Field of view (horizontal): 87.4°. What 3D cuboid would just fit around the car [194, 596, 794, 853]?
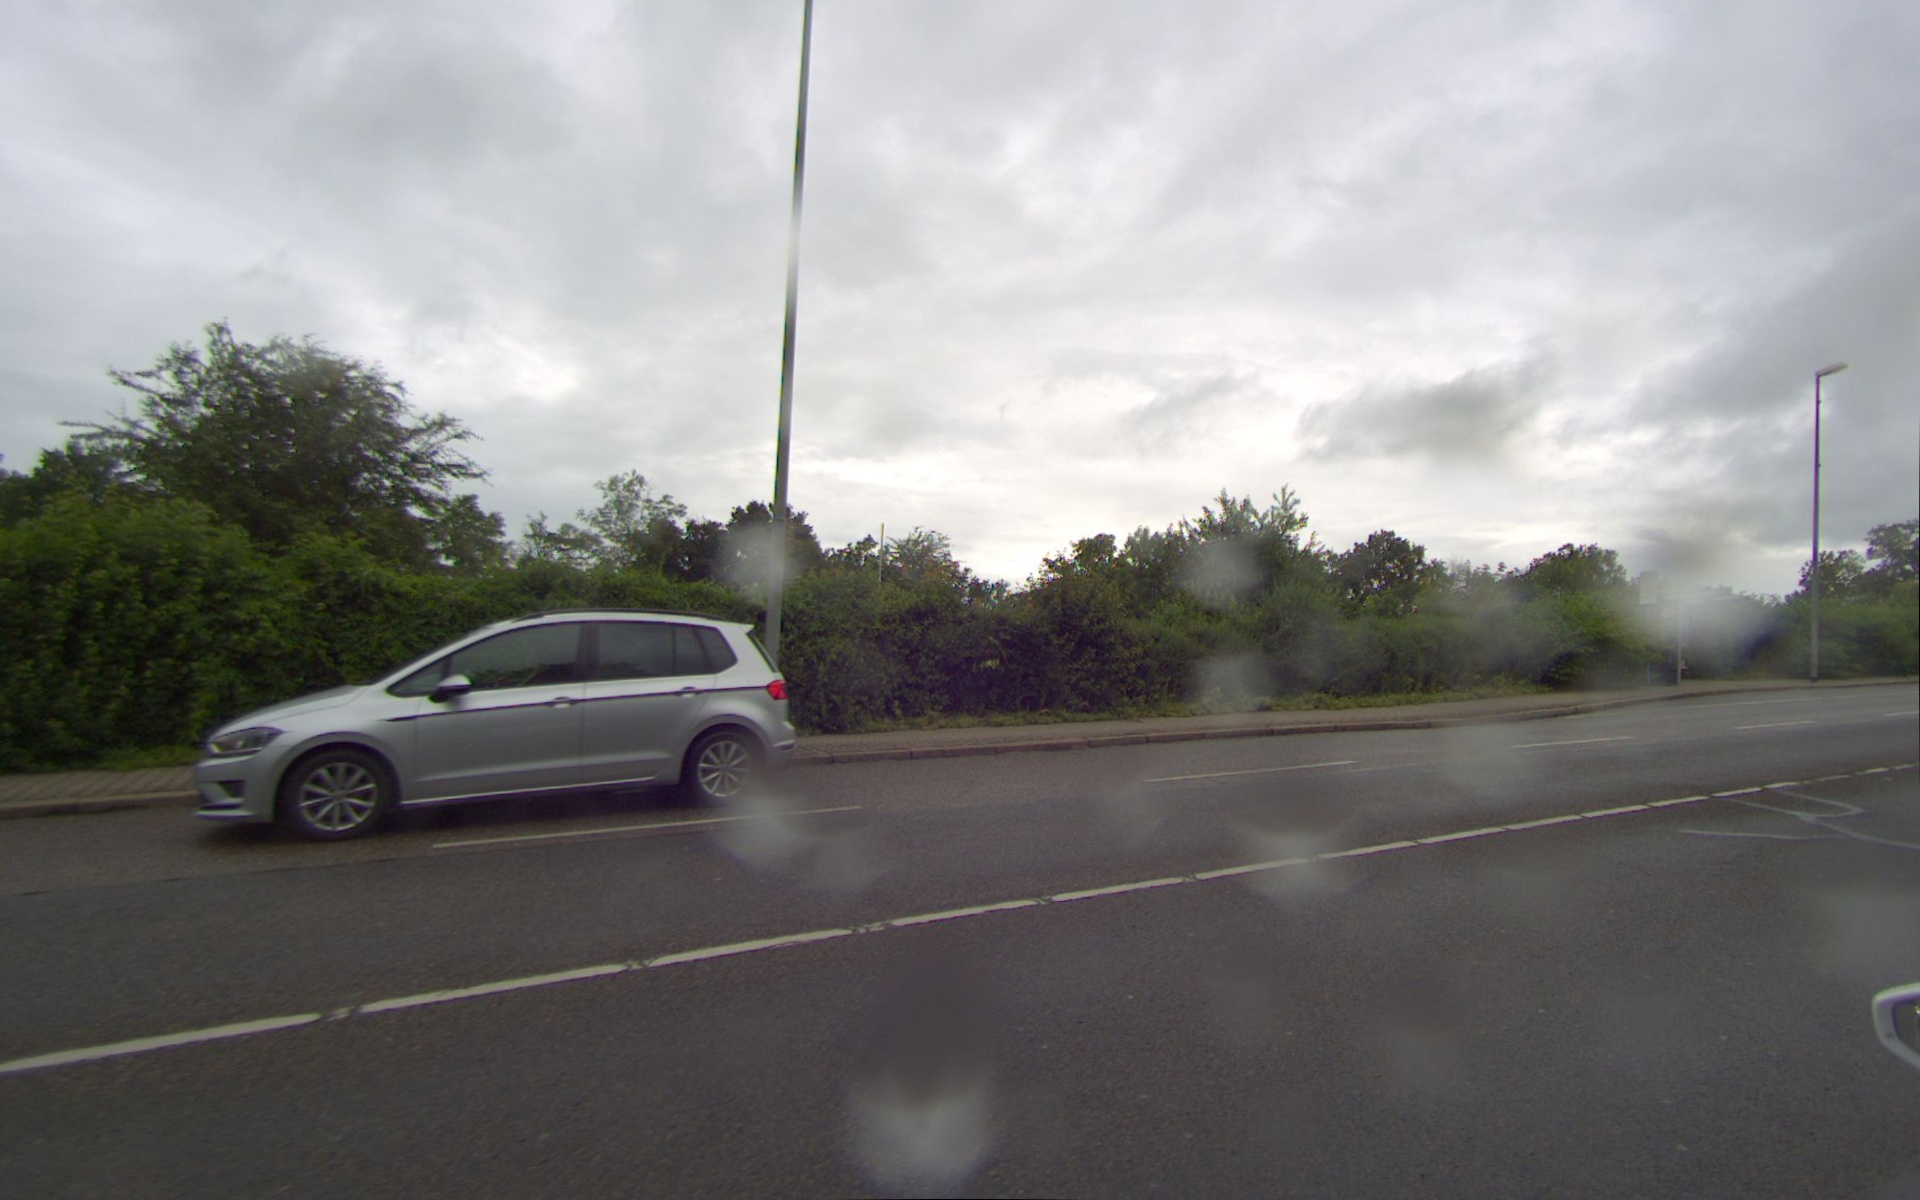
[{"bbox_3d":[-3.507,0.855,8.034,3.955,1.589,1.747,2,-3,-32],"label":"car"}]
